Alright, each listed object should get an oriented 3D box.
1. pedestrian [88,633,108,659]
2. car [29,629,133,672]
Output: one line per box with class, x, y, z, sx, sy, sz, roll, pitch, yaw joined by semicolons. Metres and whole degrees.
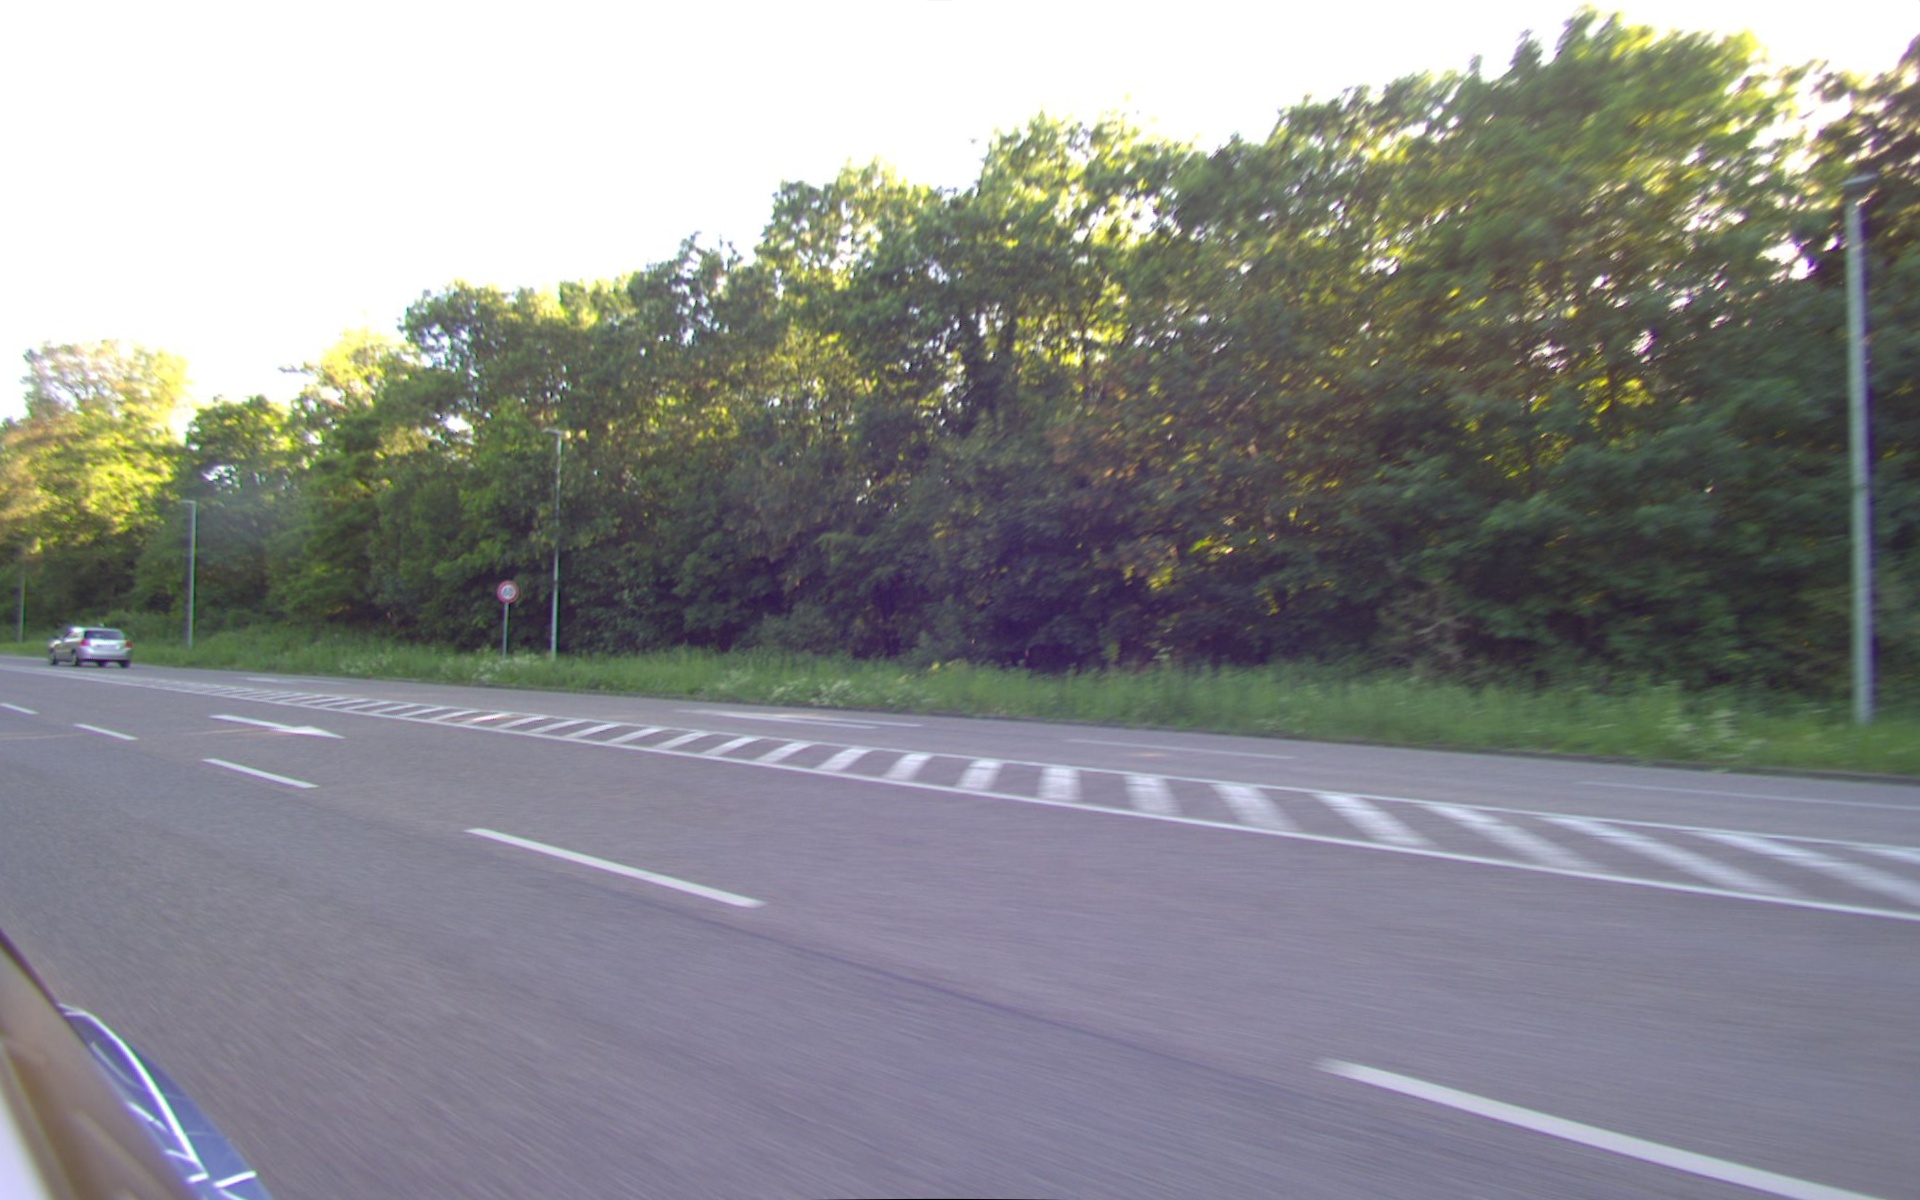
pedestrian;-52.413;2.805;61.521;0.825;1.577;0.704;-2;-4;39
car;-33.137;1.896;38.124;4.469;1.466;1.813;-1;-5;34
